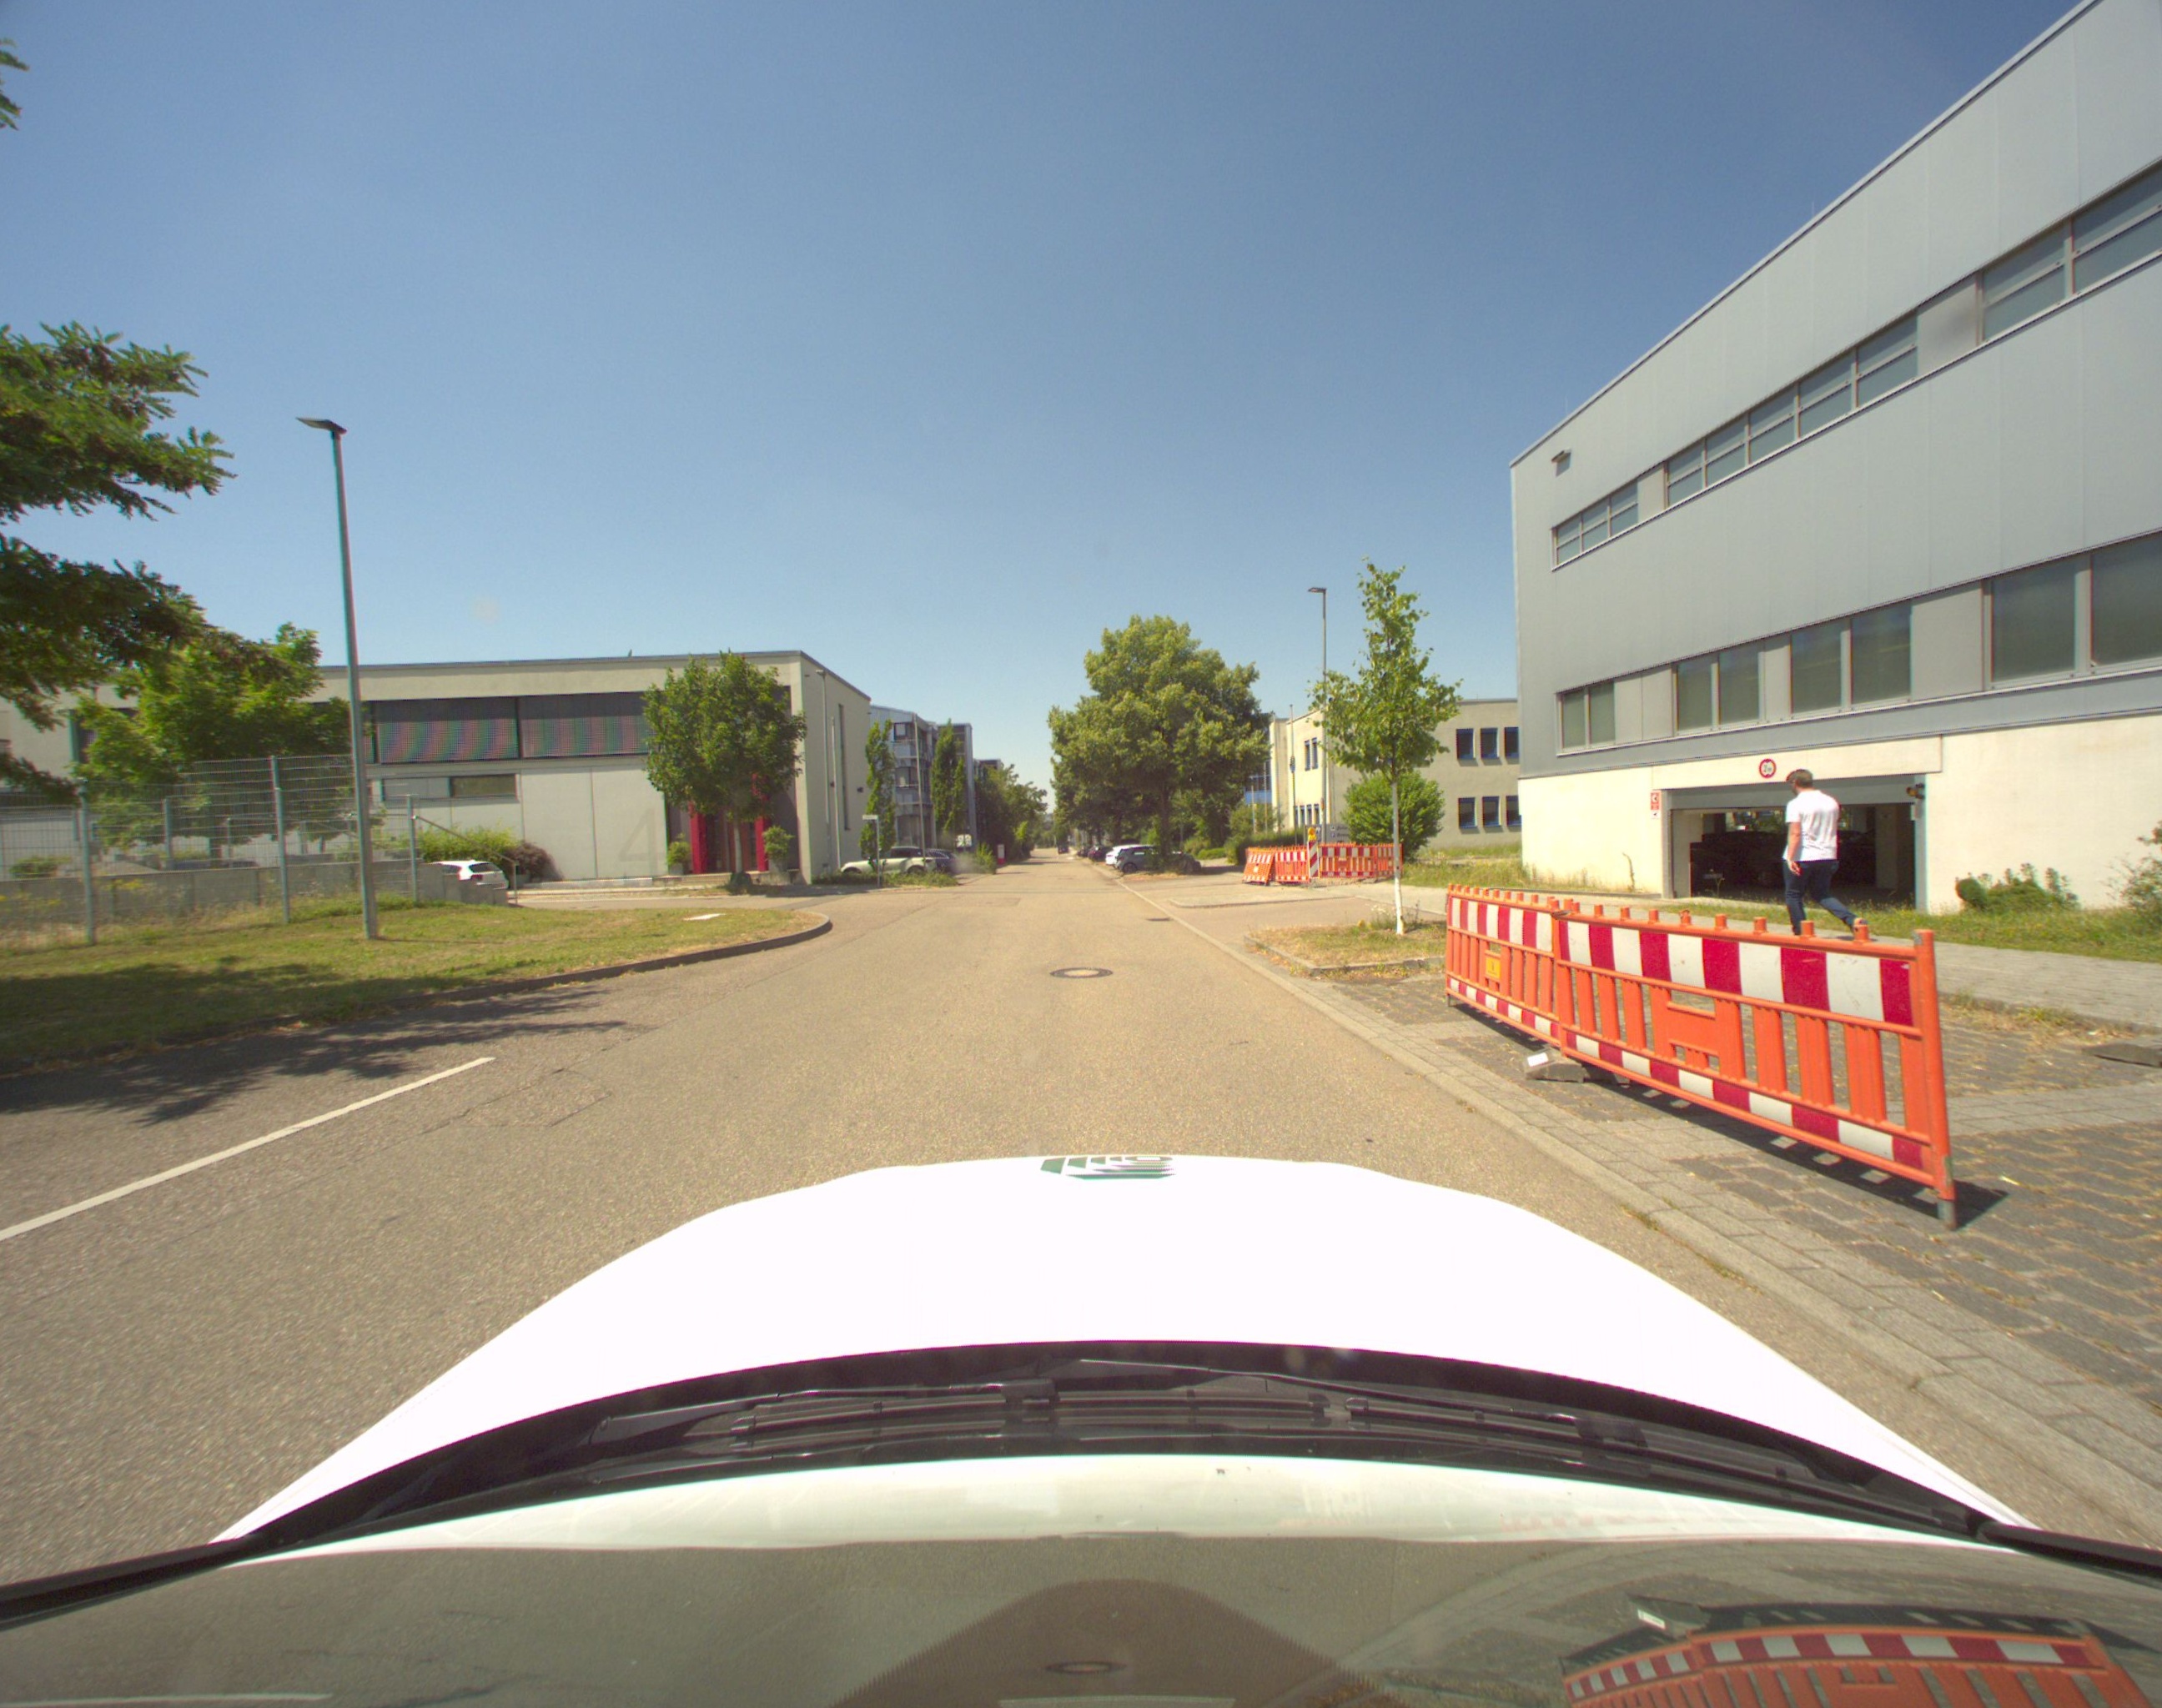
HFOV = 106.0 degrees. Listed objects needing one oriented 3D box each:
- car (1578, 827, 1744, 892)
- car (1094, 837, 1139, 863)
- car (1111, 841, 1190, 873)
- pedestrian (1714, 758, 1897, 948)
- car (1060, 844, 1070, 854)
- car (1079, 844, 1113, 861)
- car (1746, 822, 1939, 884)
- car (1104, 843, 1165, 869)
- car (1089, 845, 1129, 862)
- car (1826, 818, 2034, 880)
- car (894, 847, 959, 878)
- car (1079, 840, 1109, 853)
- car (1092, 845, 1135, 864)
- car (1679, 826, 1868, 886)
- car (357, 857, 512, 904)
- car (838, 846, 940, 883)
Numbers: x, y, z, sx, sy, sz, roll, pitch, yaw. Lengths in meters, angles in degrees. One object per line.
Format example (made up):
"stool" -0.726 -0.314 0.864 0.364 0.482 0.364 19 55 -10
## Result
"car" 15.846 0.076 22.536 1.819 1.452 4.003 -2 4 1
"car" 3.023 -0.361 69.375 3.712 2.110 1.812 -1 0 -2
"car" 3.456 0.140 40.897 3.675 1.354 1.642 -4 0 -6
"pedestrian" 7.788 -0.030 8.812 0.865 1.889 1.208 -2 1 -17
"car" -3.029 -0.907 151.587 1.756 1.755 3.943 -1 0 -1
"car" 1.877 -0.222 100.209 3.931 1.834 1.762 -1 4 -10
"car" 21.636 -0.093 23.408 1.875 1.452 4.003 -2 4 1
"car" 3.323 0.128 50.589 3.512 1.354 1.535 -4 0 -6
"car" 2.665 -0.051 78.292 3.712 1.626 1.812 -1 0 -2
"car" 24.115 -0.223 23.377 1.875 1.452 4.003 -2 4 1
"car" -7.570 0.421 40.162 3.056 1.478 1.289 -1 0 -9
"car" 1.800 -1.072 112.533 3.931 1.577 1.762 -1 4 -10
"car" 2.893 0.023 73.062 3.712 1.626 1.812 -1 0 -2
"car" 18.897 0.044 22.489 1.875 1.477 4.001 -1 0 1
"car" -22.619 0.904 28.605 3.989 1.408 1.657 -1 4 -1
"car" -8.242 0.432 35.271 4.038 1.495 1.726 -1 0 -5
